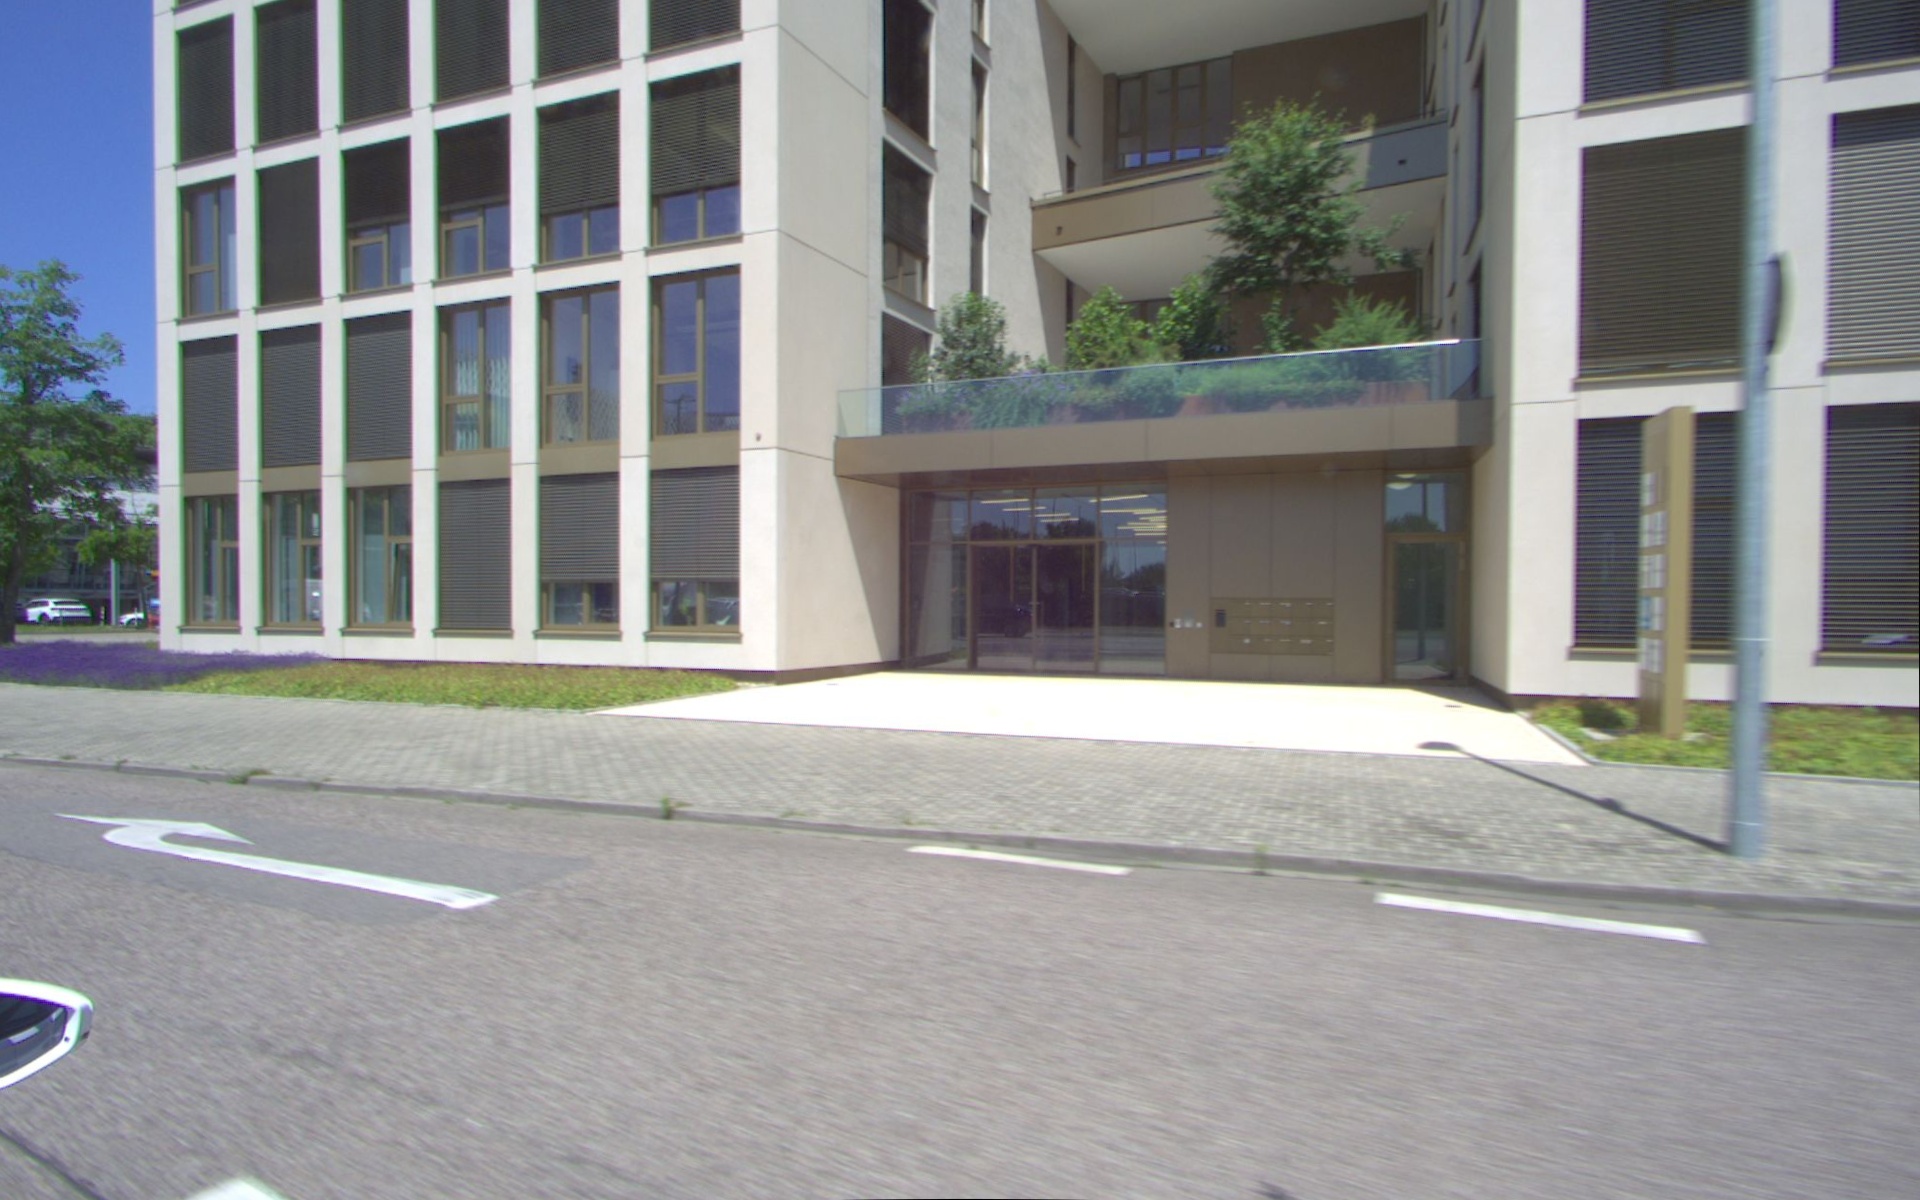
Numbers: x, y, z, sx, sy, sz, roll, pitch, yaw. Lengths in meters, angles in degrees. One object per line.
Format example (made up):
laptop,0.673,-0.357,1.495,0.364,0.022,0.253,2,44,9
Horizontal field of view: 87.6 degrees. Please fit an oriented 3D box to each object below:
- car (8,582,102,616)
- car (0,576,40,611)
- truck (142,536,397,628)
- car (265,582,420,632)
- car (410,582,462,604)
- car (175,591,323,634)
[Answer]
car,-47.166,-0.076,52.201,4.396,1.662,1.829,2,1,21
car,-48.118,-0.366,49.726,4.396,1.662,1.829,2,1,21
truck,-34.340,-0.750,50.575,3.048,4.136,10.623,1,0,23
car,-23.779,0.246,38.775,4.825,1.840,1.699,0,1,-22
car,-44.311,-0.570,84.660,3.930,1.810,1.735,1,1,21
car,-25.014,0.413,35.369,3.932,1.454,1.606,0,1,-20
